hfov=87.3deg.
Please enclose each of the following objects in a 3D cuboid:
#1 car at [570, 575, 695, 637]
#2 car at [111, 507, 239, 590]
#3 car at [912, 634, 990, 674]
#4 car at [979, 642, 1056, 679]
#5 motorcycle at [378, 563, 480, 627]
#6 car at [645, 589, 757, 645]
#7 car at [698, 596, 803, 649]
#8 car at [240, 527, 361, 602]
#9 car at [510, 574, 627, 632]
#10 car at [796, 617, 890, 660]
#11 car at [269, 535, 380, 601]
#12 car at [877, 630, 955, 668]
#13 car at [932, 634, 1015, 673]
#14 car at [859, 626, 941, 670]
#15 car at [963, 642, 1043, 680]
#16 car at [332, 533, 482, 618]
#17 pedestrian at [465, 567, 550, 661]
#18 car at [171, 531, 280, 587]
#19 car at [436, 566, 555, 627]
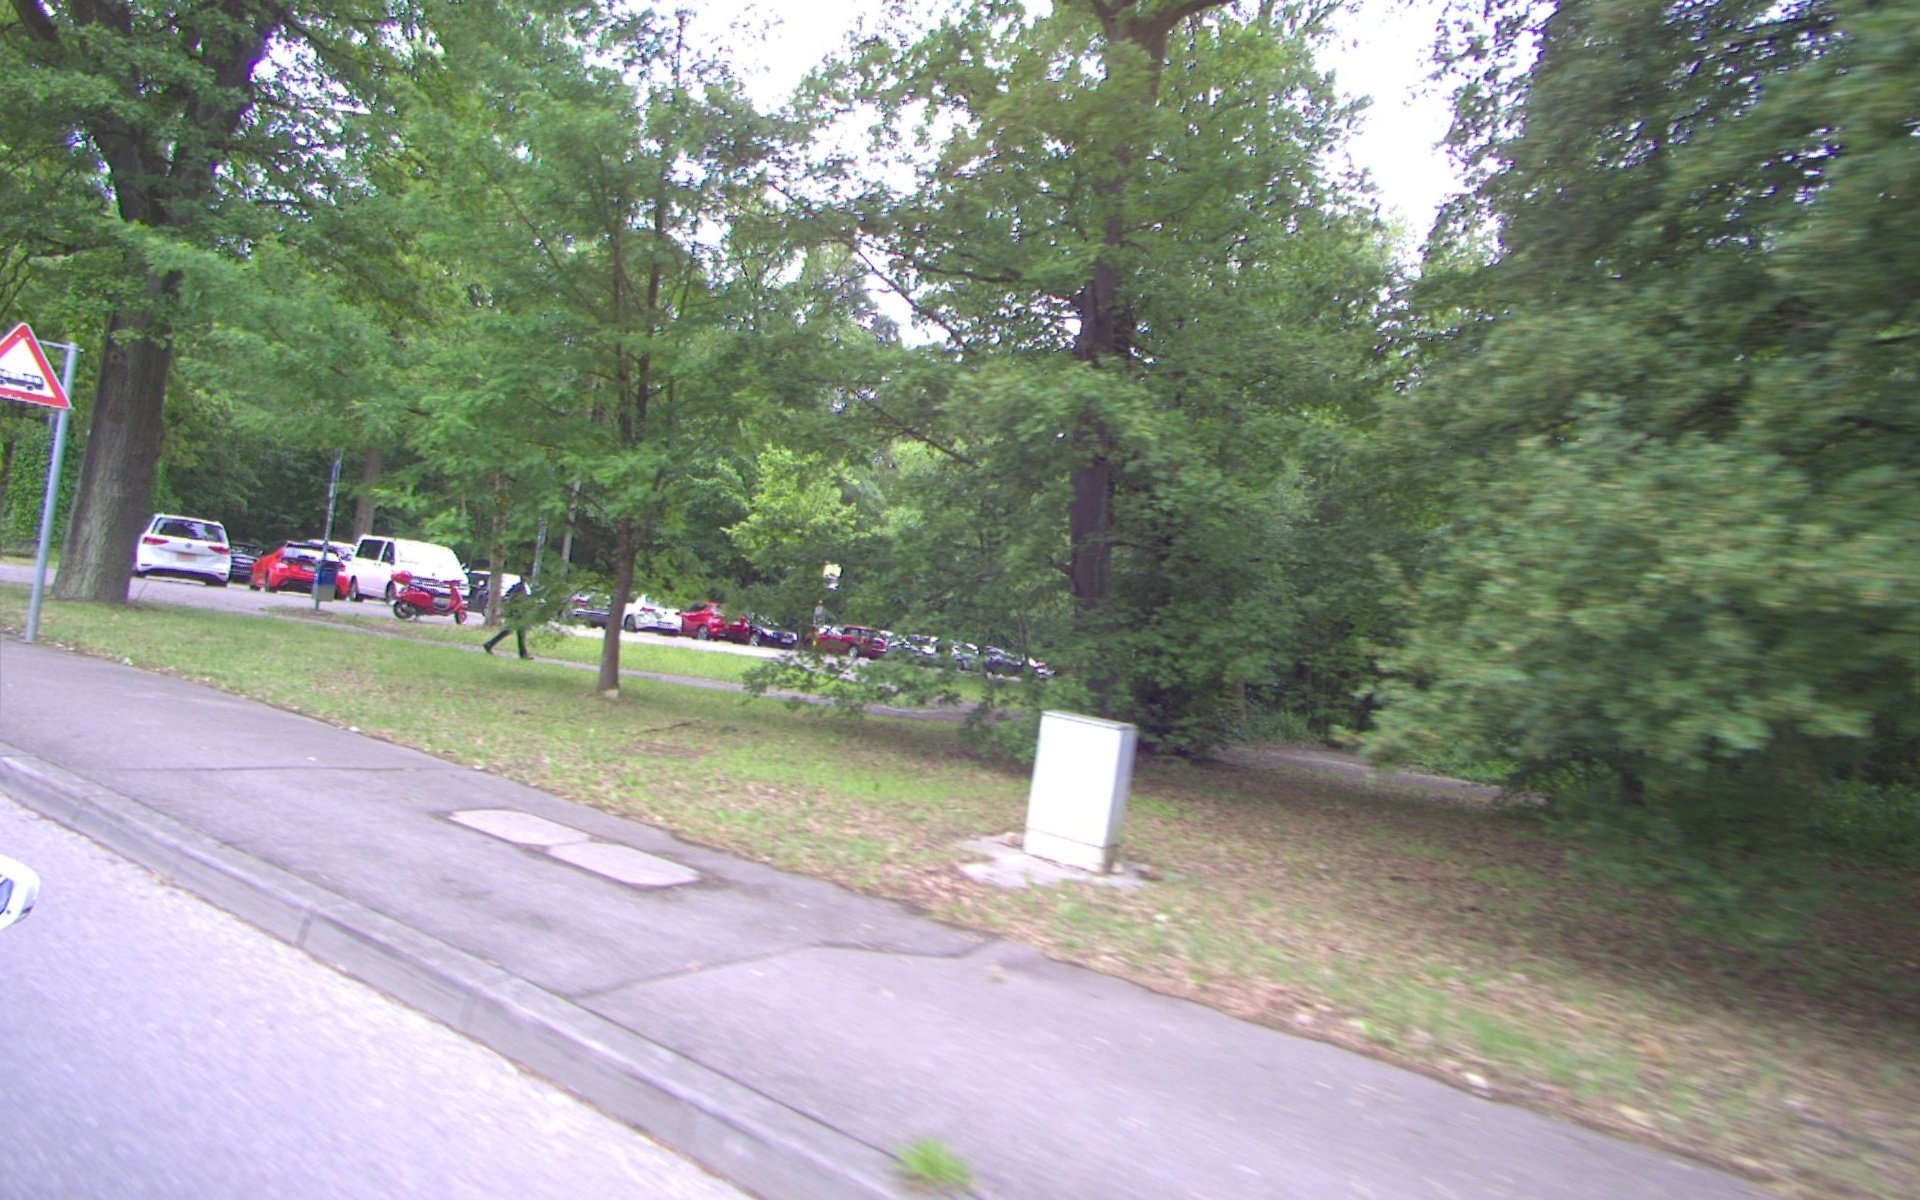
[{"bbox_3d":[-11.213,0.180,34.293,4.468,1.575,1.837,6,-3,40],"label":"car"},{"bbox_3d":[-19.269,-1.278,24.617,1.989,1.569,4.368,10,-3,-43],"label":"car"},{"bbox_3d":[-0.443,2.568,47.921,3.331,1.457,1.518,6,-3,35],"label":"car"},{"bbox_3d":[3.111,3.288,54.757,3.714,1.444,1.753,6,-3,37],"label":"car"},{"bbox_3d":[-12.520,-0.101,23.787,0.582,1.217,1.951,6,-3,39],"label":"motorcycle"},{"bbox_3d":[-9.354,0.592,36.191,4.144,1.512,1.812,6,-3,43],"label":"car"},{"bbox_3d":[-7.994,0.842,38.195,4.014,1.473,1.757,6,-3,43],"label":"car"},{"bbox_3d":[-17.402,-0.971,26.460,1.884,1.569,3.952,10,-3,-43],"label":"car"},{"bbox_3d":[-12.645,0.076,32.404,4.074,1.340,1.812,5,-3,43],"label":"car"},{"bbox_3d":[-4.930,1.611,42.133,3.718,1.280,1.616,6,-3,38],"label":"car"},{"bbox_3d":[-23.191,-1.203,36.655,4.882,1.899,1.992,6,-3,42],"label":"car"},{"bbox_3d":[-2.045,2.241,46.368,3.233,1.276,1.515,6,-3,37],"label":"car"},{"bbox_3d":[0.670,2.665,50.243,3.714,1.444,1.753,6,-3,37],"label":"car"},{"bbox_3d":[-2.646,2.093,43.818,3.233,1.446,1.515,6,-3,37],"label":"car"},{"bbox_3d":[2.248,3.188,52.663,3.714,1.444,1.753,6,-3,37],"label":"car"},{"bbox_3d":[-15.774,-0.731,28.569,5.116,1.978,2.054,3,-4,43],"label":"car"},{"bbox_3d":[-8.764,0.285,19.528,1.016,1.670,0.835,7,-2,9],"label":"pedestrian"},{"bbox_3d":[-25.279,-1.422,34.586,3.789,1.436,1.817,6,-3,36],"label":"car"},{"bbox_3d":[-14.038,-0.119,30.345,3.881,1.343,1.715,6,-3,41],"label":"car"}]
